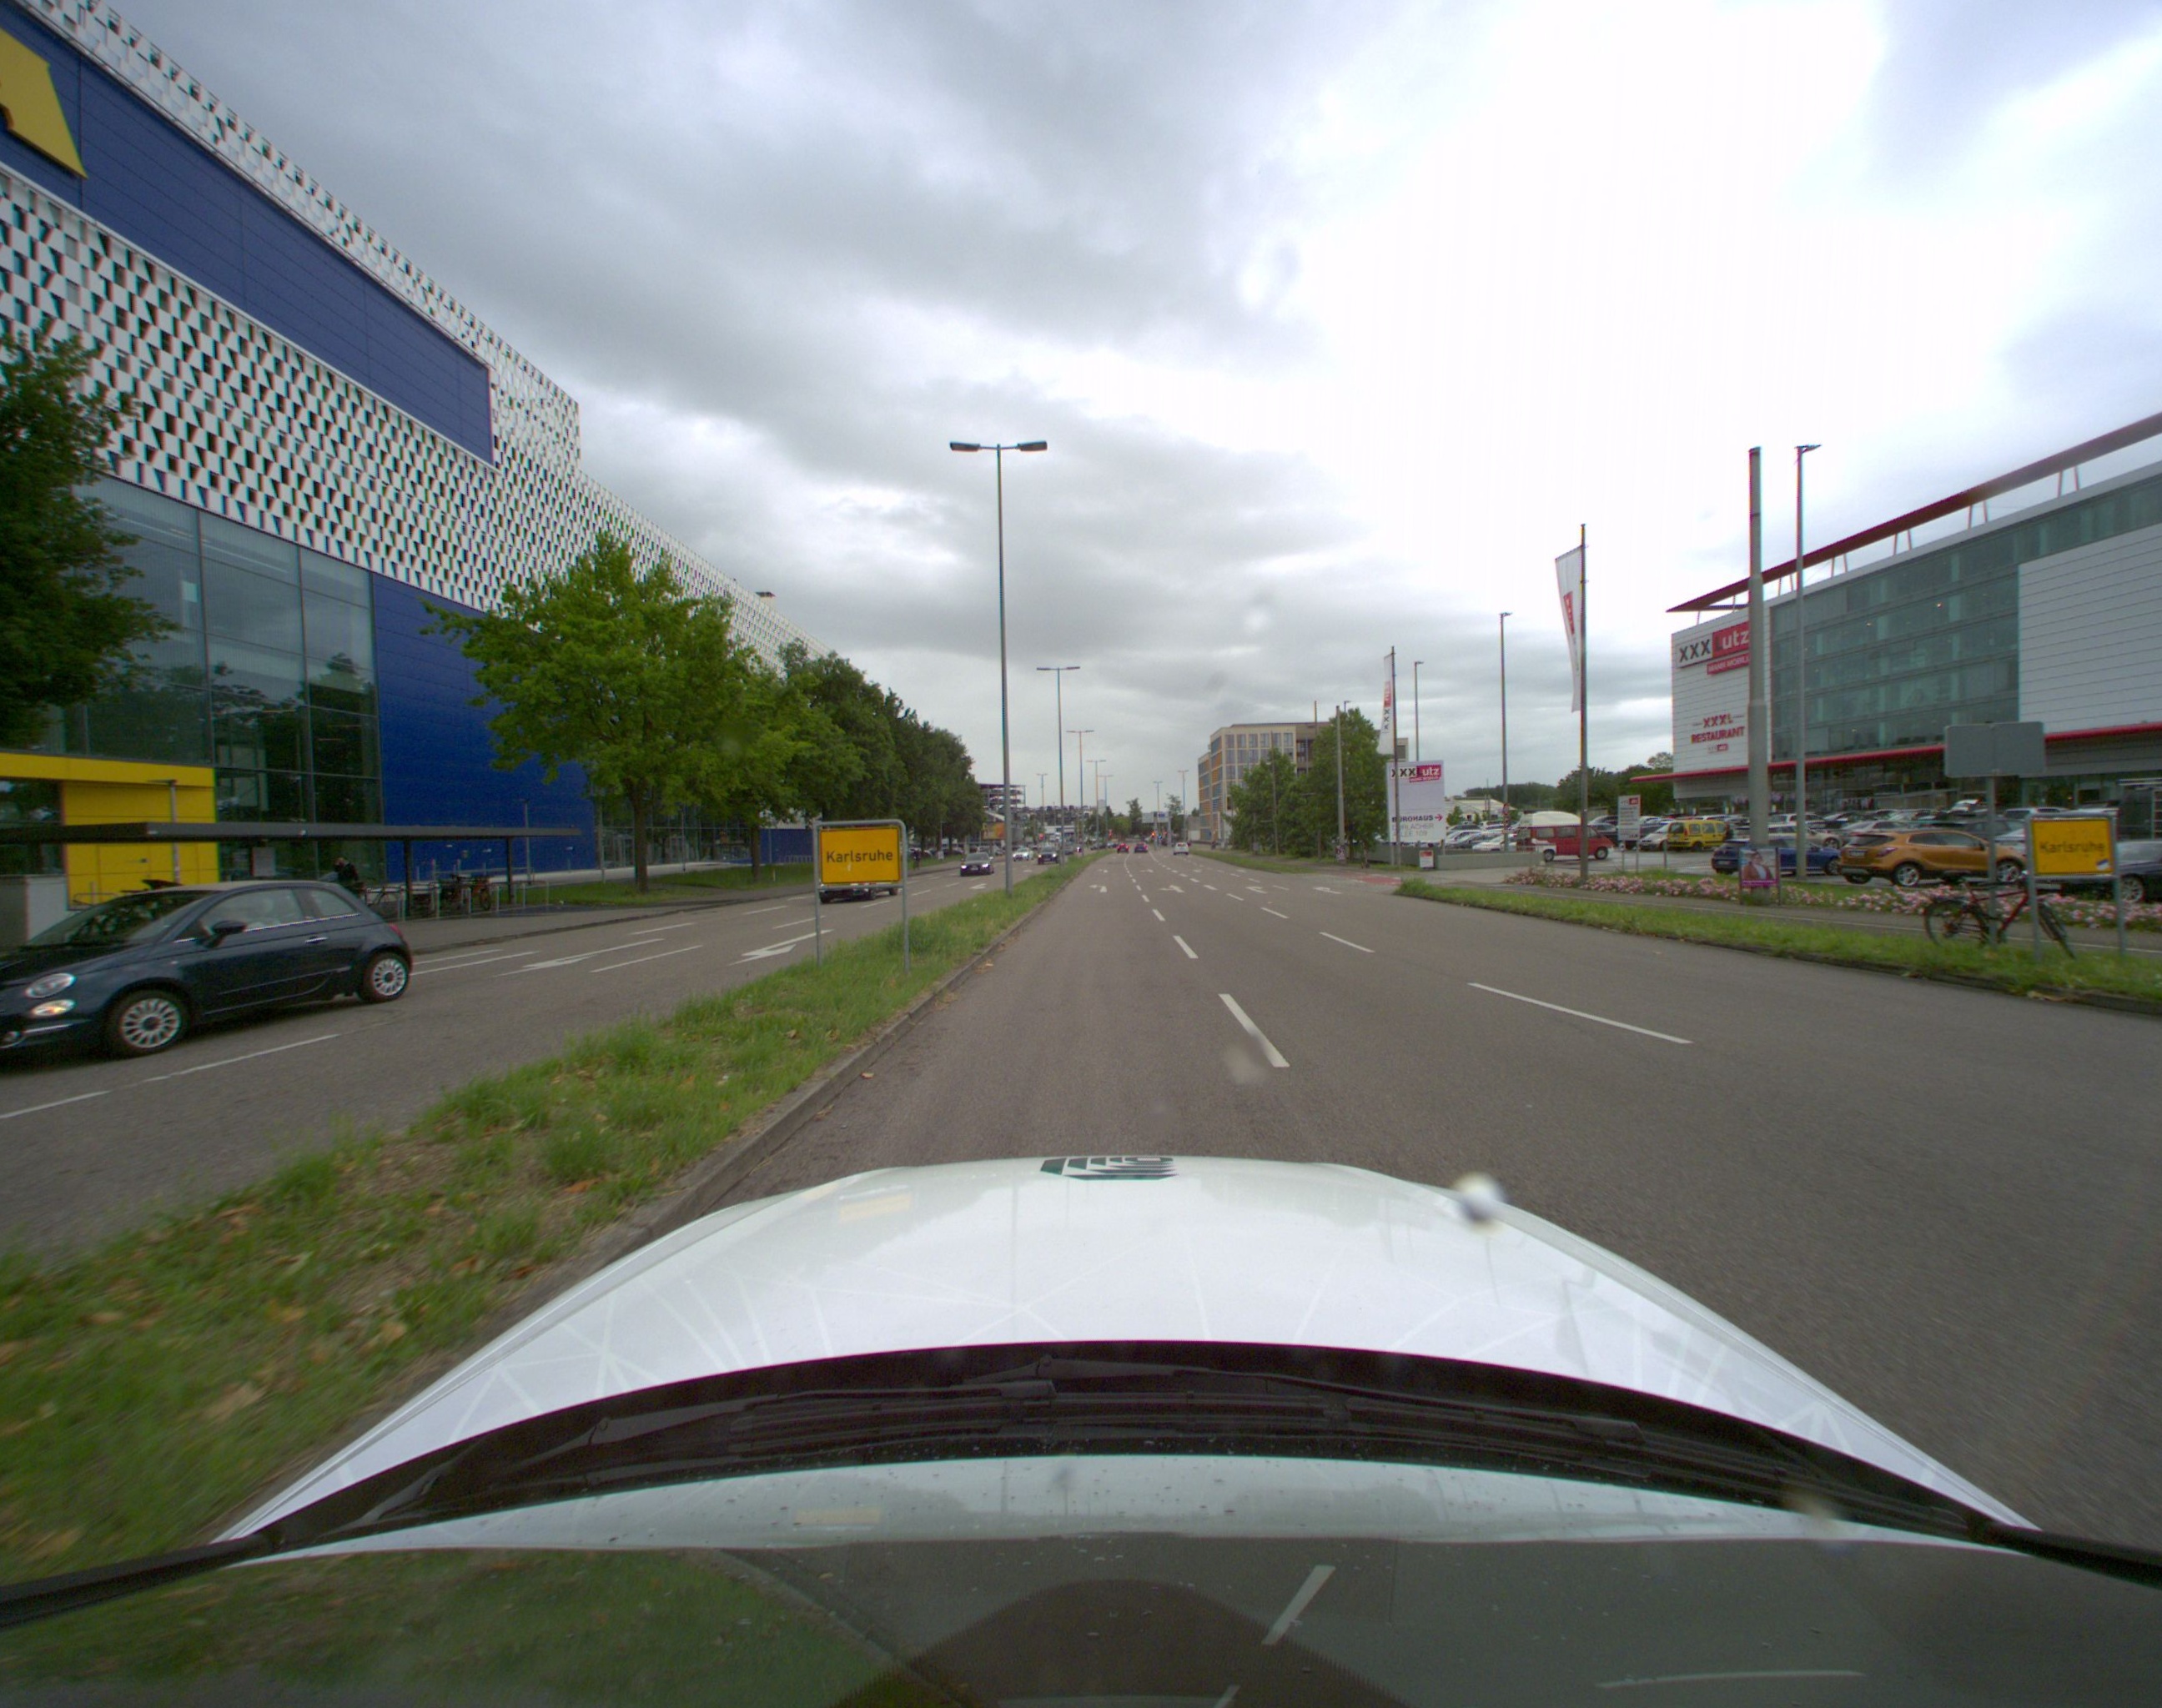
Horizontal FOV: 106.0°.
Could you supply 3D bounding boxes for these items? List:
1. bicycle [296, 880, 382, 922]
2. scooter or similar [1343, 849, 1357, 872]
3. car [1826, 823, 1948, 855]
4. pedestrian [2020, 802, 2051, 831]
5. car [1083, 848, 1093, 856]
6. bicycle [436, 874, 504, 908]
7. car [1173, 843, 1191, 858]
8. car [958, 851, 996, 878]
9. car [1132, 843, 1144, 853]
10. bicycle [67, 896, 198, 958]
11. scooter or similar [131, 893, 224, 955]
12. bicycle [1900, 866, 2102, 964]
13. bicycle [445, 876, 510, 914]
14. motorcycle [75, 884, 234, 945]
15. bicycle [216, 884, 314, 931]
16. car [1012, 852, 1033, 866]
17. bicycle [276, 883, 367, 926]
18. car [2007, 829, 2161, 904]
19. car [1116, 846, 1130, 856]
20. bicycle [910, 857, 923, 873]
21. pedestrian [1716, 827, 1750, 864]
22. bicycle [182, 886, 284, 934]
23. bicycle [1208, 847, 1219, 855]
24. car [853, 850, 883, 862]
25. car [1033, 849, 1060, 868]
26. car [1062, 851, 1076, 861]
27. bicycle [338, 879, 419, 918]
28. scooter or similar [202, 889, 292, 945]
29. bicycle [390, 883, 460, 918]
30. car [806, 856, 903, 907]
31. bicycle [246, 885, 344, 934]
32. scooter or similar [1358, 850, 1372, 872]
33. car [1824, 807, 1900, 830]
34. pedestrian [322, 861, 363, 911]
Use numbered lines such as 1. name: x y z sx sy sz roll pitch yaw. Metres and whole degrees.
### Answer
1. bicycle: -21.644 1.362 23.773 2.008 1.157 0.594 0 0 2
2. scooter or similar: 17.783 0.418 53.845 0.646 1.421 1.825 -2 0 11
3. car: 40.014 -0.777 40.527 4.220 1.468 1.741 -1 2 4
4. pedestrian: 63.103 -2.475 53.856 0.947 1.869 0.967 -2 2 -12
5. car: 1.349 -0.334 159.650 1.925 1.455 4.180 -1 0 -1
6. bicycle: -21.461 1.291 28.601 2.006 1.122 0.594 0 0 4
7. car: 12.719 -0.462 102.976 1.984 1.752 4.185 -1 0 4
8. car: -6.421 0.639 50.655 1.879 1.436 4.427 -4 1 -3
9. car: 8.760 -0.924 125.337 1.827 1.514 4.004 -1 0 3
10. bicycle: -19.404 1.485 16.681 2.008 1.157 0.594 -1 0 2
11. scooter or similar: -19.175 1.463 17.309 0.354 1.184 1.301 0 1 39
12. bicycle: 10.927 0.681 9.770 0.659 1.048 1.696 -1 0 9
13. bicycle: -19.726 1.333 26.609 2.000 1.157 0.596 0 0 16
14. motorcycle: -21.701 1.399 19.130 2.492 1.355 0.797 0 0 -11
15. bicycle: -21.471 1.399 21.438 2.008 1.157 0.594 0 0 2
16. car: -6.804 0.551 94.400 1.858 1.454 4.171 -3 0 2
17. bicycle: -21.121 1.398 22.653 2.008 1.157 0.594 0 0 2
18. car: 24.374 0.234 18.496 4.507 1.583 1.771 -1 0 3
19. car: 6.341 -0.476 124.378 1.980 1.428 4.243 -1 0 2
20. bicycle: -13.669 0.910 67.693 0.640 1.251 2.057 0 1 2
21. pedestrian: 31.254 -0.433 39.026 0.936 1.719 0.886 -2 2 1
22. bicycle: -21.568 1.408 20.731 2.008 1.157 0.594 0 0 2
23. bicycle: 22.461 -0.508 137.916 0.705 1.295 1.990 -2 1 -33
24. car: -39.766 0.408 152.173 5.118 1.963 1.880 -2 4 -2
25. car: -2.996 0.366 71.430 1.924 1.486 4.441 -3 0 1
26. car: -1.891 0.296 125.407 1.765 1.452 4.408 -3 0 3
27. bicycle: -21.609 1.351 25.075 2.008 1.157 0.594 0 0 2
28. scooter or similar: -18.707 1.393 18.298 0.419 1.148 1.357 0 0 34
29. bicycle: -21.241 1.493 26.385 1.802 1.082 0.594 0 0 2
30. car: -7.844 0.900 28.606 1.923 1.519 4.185 -4 0 3
31. bicycle: -19.488 1.376 20.200 1.886 1.157 0.594 0 0 2
32. scooter or similar: 15.869 0.366 45.568 0.368 1.191 1.249 -2 1 2
33. car: 56.223 -2.566 58.675 3.756 1.553 1.744 -1 2 2
34. pedestrian: -26.566 1.124 29.312 0.674 1.745 0.809 -1 1 2
